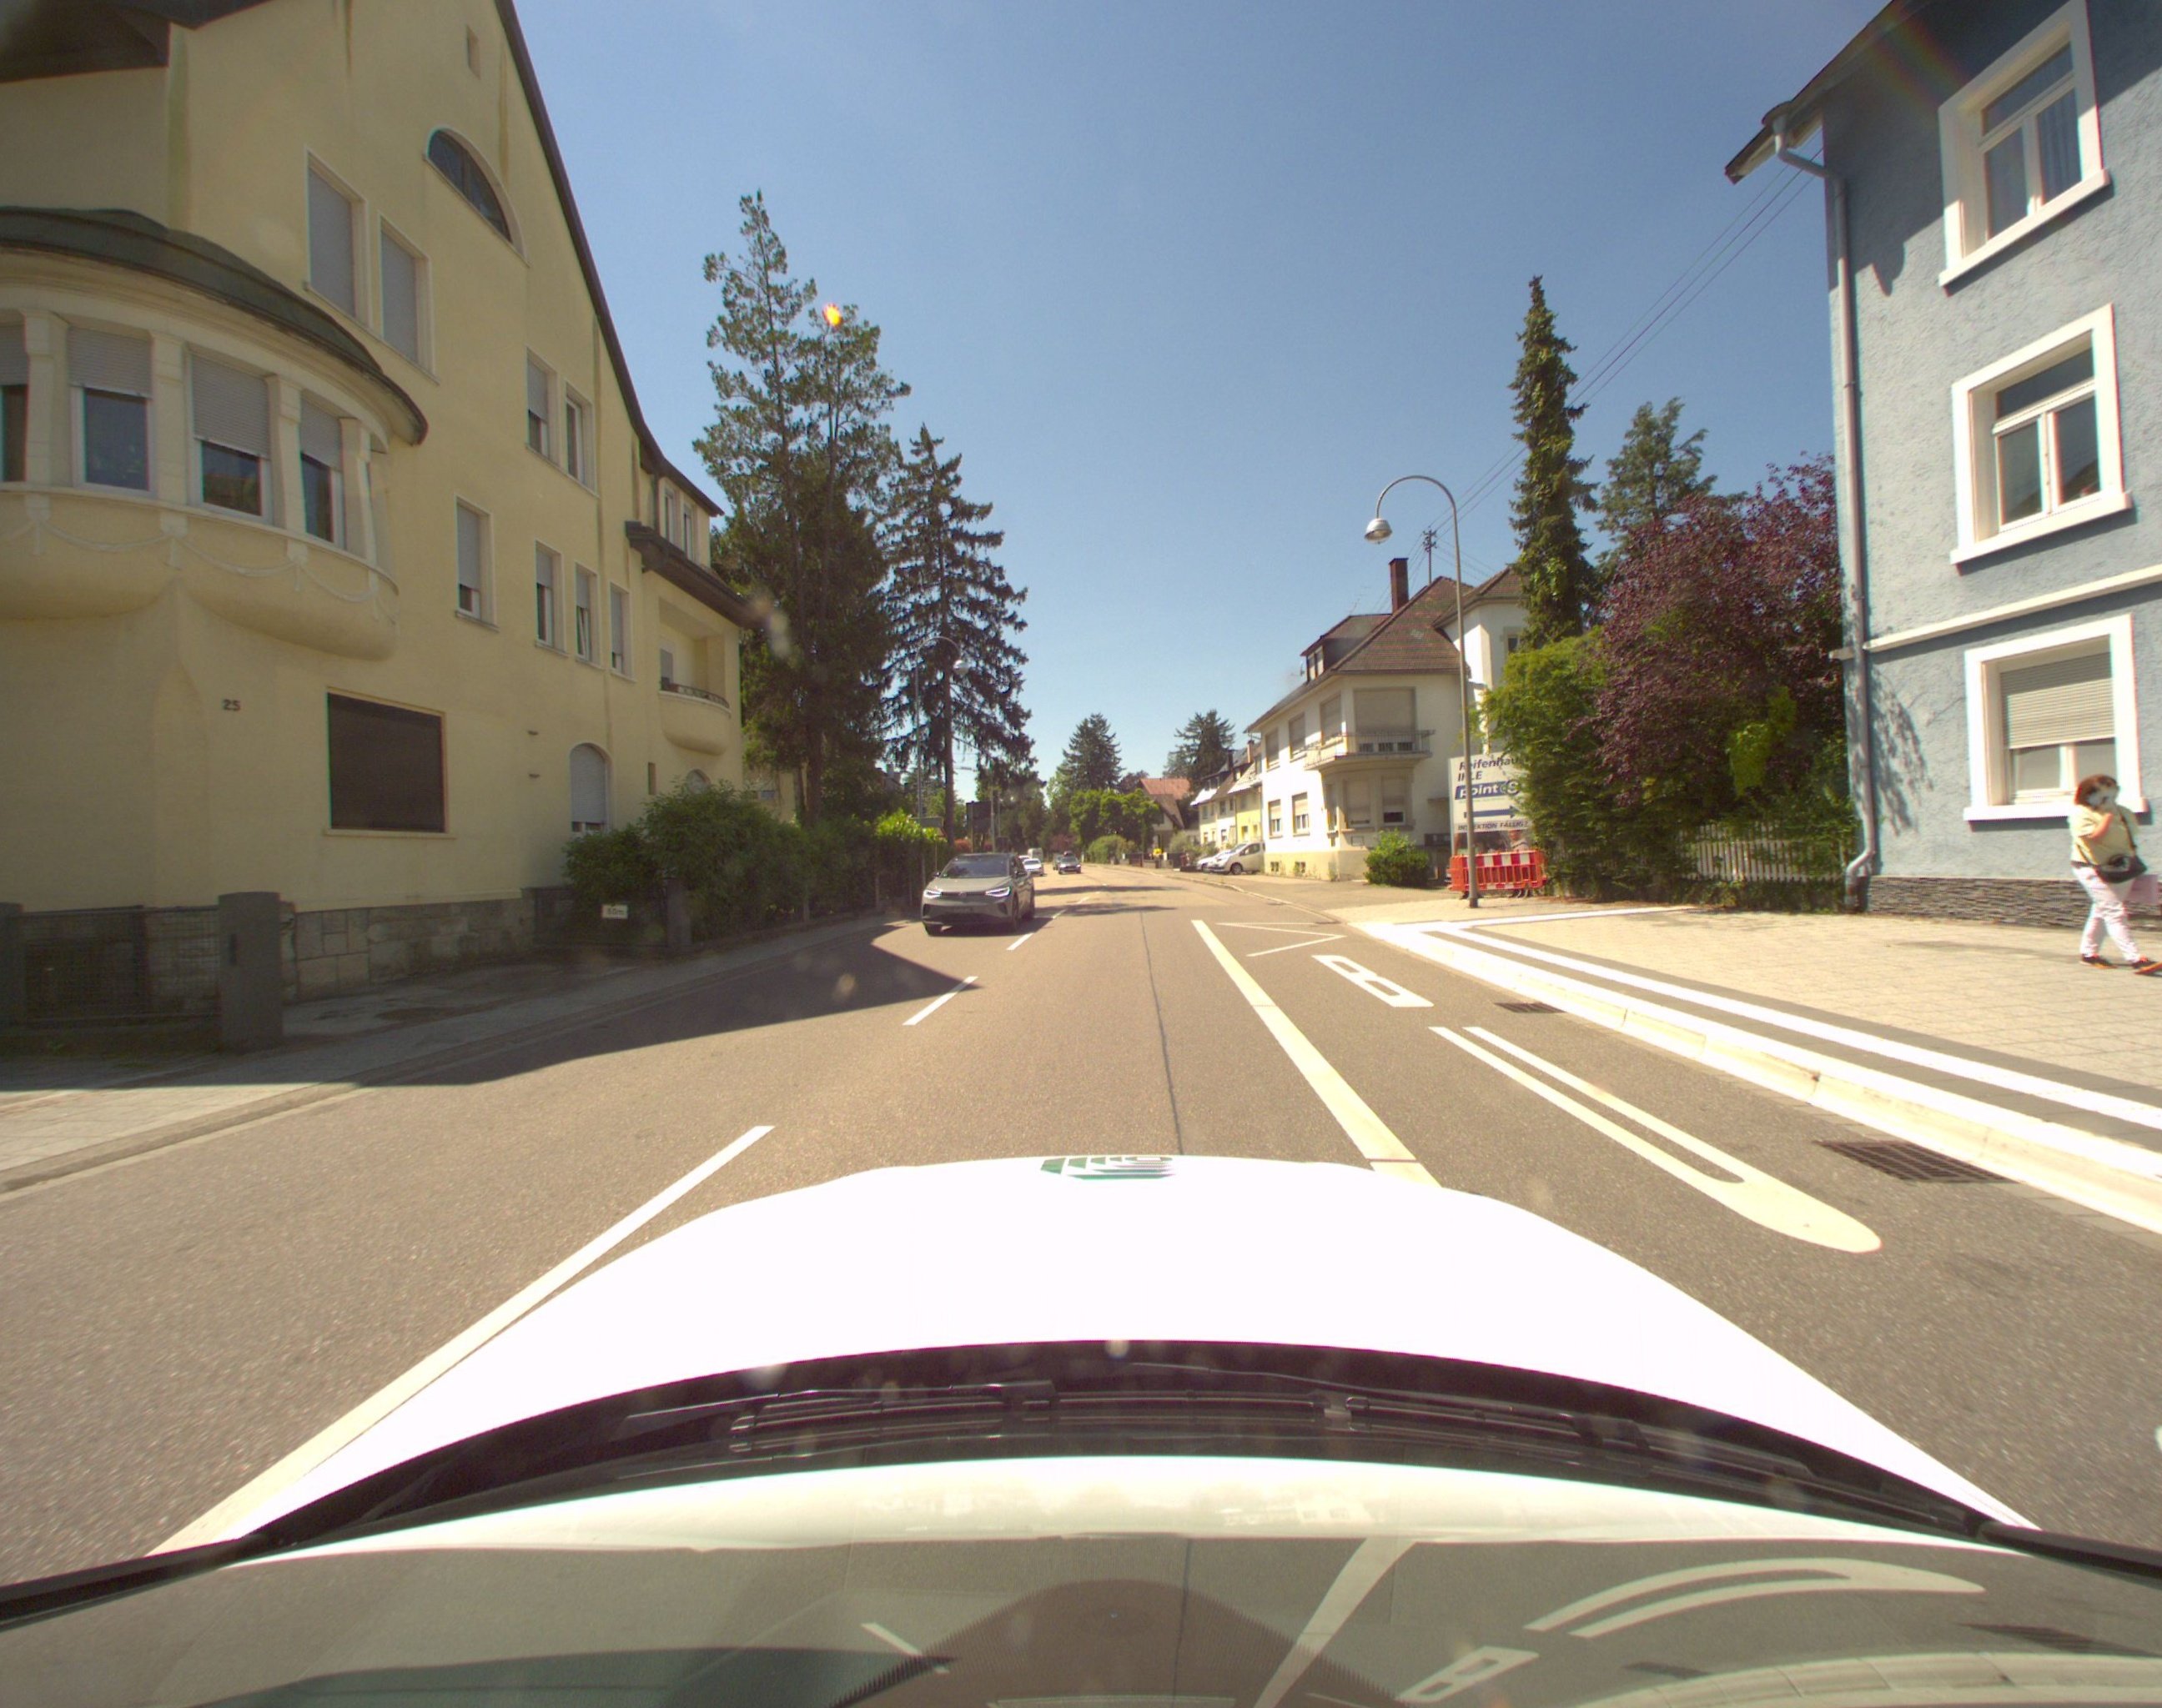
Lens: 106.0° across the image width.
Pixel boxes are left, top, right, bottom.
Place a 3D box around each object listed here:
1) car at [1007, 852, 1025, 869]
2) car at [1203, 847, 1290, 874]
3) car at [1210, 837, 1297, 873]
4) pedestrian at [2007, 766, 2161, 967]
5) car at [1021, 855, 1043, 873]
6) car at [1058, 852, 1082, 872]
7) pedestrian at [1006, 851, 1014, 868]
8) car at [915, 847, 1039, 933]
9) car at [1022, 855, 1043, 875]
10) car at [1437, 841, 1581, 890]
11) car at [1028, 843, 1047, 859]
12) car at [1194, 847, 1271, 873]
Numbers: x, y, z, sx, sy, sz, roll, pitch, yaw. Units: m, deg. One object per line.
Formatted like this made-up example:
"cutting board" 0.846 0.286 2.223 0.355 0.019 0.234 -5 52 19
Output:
"car" -7.329 0.708 91.143 1.721 1.736 3.878 -4 0 -7
"car" 9.482 0.373 46.939 4.627 1.409 1.768 1 0 -2
"car" 9.335 0.045 44.175 4.292 1.831 1.733 1 0 -11
"pedestrian" 8.745 0.097 7.022 0.609 1.616 0.753 -4 0 14
"car" -4.380 0.833 72.350 1.766 1.438 4.355 -4 0 -4
"car" -0.960 0.671 67.850 1.802 1.488 4.382 -4 0 -3
"pedestrian" -7.858 0.613 90.155 0.687 1.890 1.018 3 -1 -1
"car" -2.122 0.693 17.912 1.845 1.616 4.301 -1 0 4
"car" -3.970 0.870 66.262 1.576 1.423 3.934 -4 0 -4
"car" 14.497 0.378 27.720 3.975 1.592 1.797 0 0 -1
"car" -6.929 -0.468 130.269 2.145 2.315 4.832 -4 1 -12
"car" 9.272 0.351 49.825 4.250 1.548 1.767 0 -1 29
